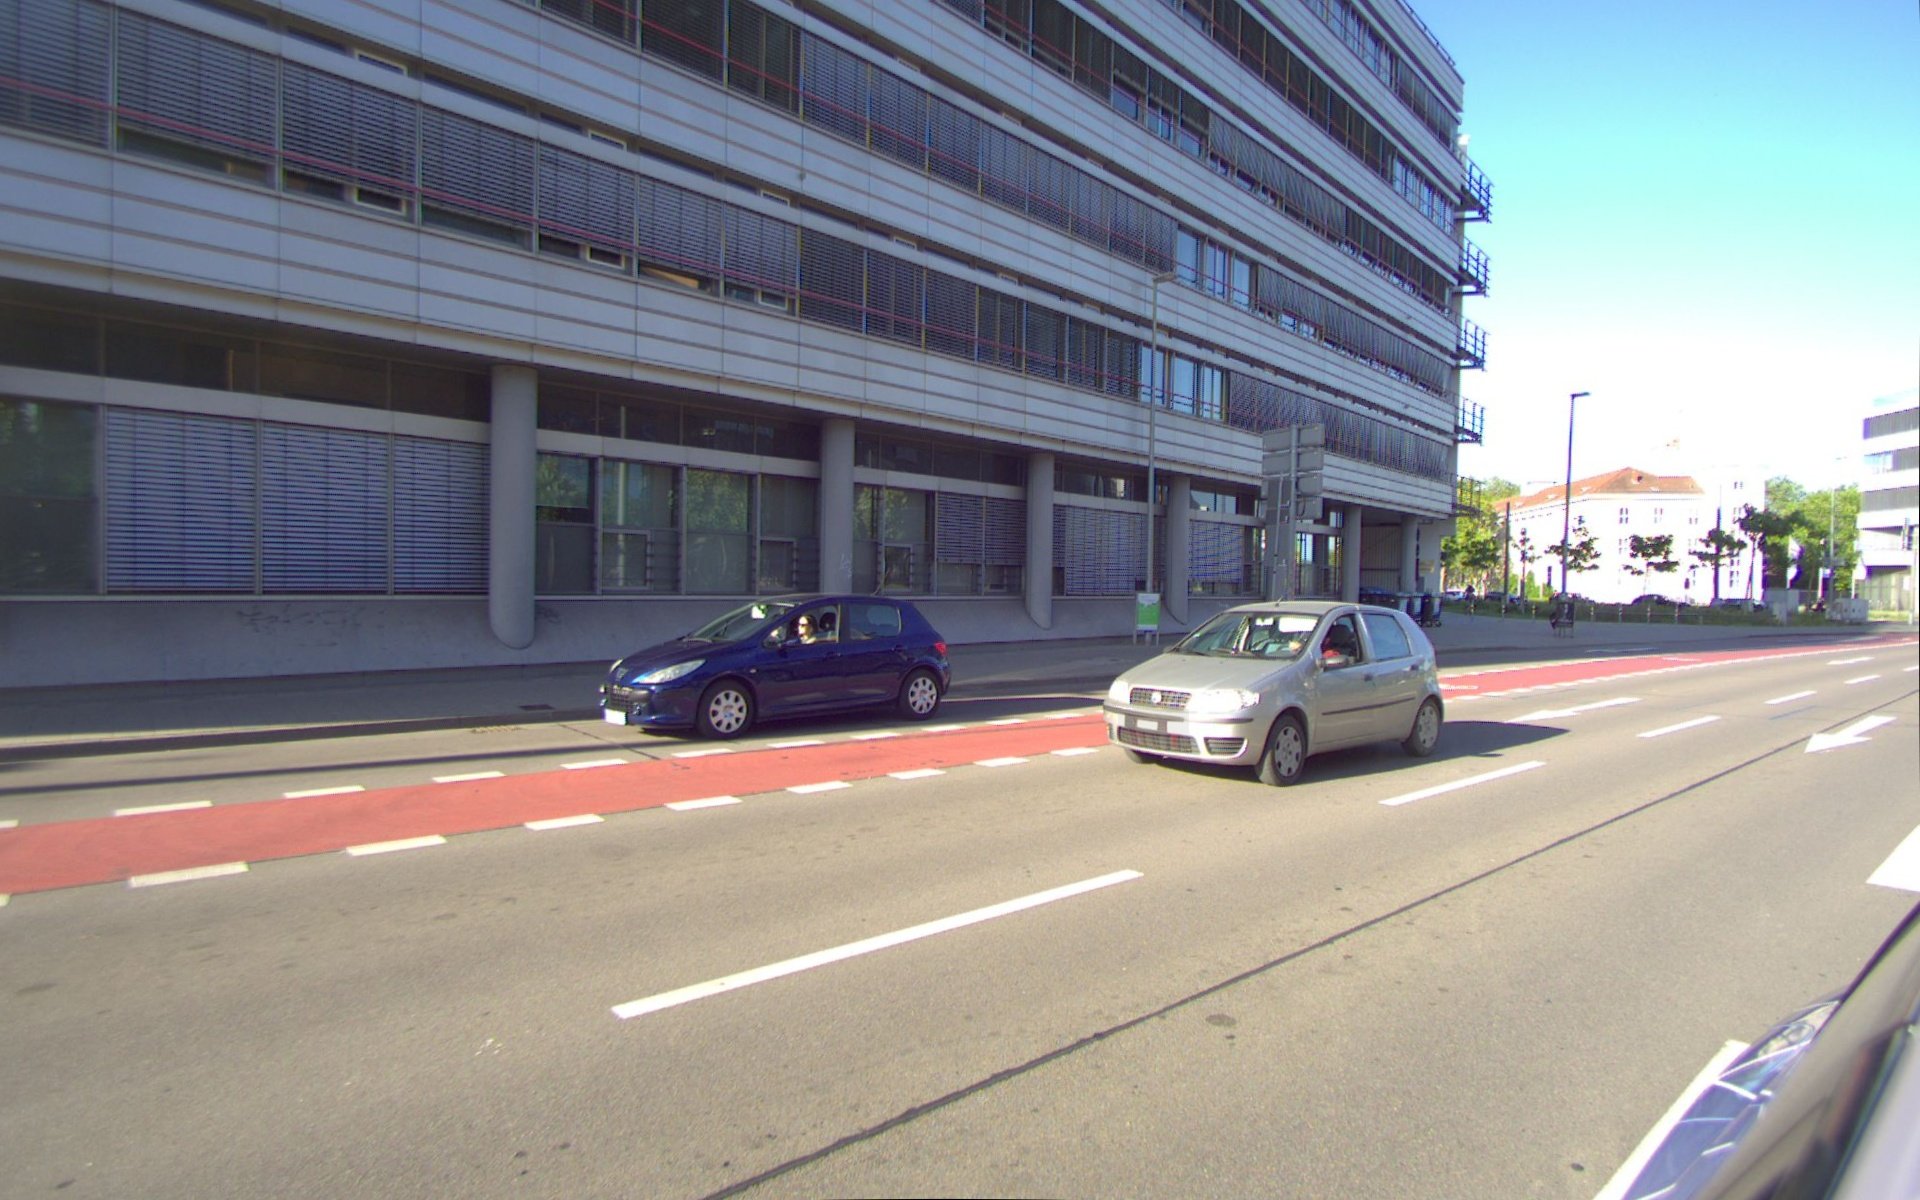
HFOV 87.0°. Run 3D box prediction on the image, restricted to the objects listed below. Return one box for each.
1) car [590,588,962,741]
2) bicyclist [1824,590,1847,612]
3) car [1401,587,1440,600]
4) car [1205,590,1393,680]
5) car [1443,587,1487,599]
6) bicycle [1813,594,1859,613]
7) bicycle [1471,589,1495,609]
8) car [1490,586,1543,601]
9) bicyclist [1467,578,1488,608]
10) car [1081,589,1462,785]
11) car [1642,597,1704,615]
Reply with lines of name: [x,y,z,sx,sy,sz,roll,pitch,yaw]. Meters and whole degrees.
car: [-2.015,0.599,11.731,3.930,1.464,1.734,-1,1,-41]
bicyclist: [64.897,0.052,75.029,0.862,1.627,1.009,0,1,-27]
car: [52.208,-0.724,114.839,1.894,1.393,4.009,0,1,-17]
car: [6.323,0.570,18.696,3.929,1.463,1.439,0,2,-40]
car: [54.263,-0.776,108.750,1.958,1.259,4.009,0,1,-19]
bicycle: [64.889,0.214,75.009,0.932,1.328,2.376,0,1,-27]
bicycle: [29.361,-0.084,56.806,1.672,1.070,0.505,-1,4,-40]
car: [56.478,-0.658,102.836,1.958,1.439,4.536,0,1,-22]
bicyclist: [29.046,-0.385,56.839,0.973,1.638,0.685,0,1,-39]
car: [2.969,0.621,9.304,3.700,1.447,1.619,0,1,-40]
car: [61.946,0.489,87.999,1.958,1.439,4.009,0,1,-21]
